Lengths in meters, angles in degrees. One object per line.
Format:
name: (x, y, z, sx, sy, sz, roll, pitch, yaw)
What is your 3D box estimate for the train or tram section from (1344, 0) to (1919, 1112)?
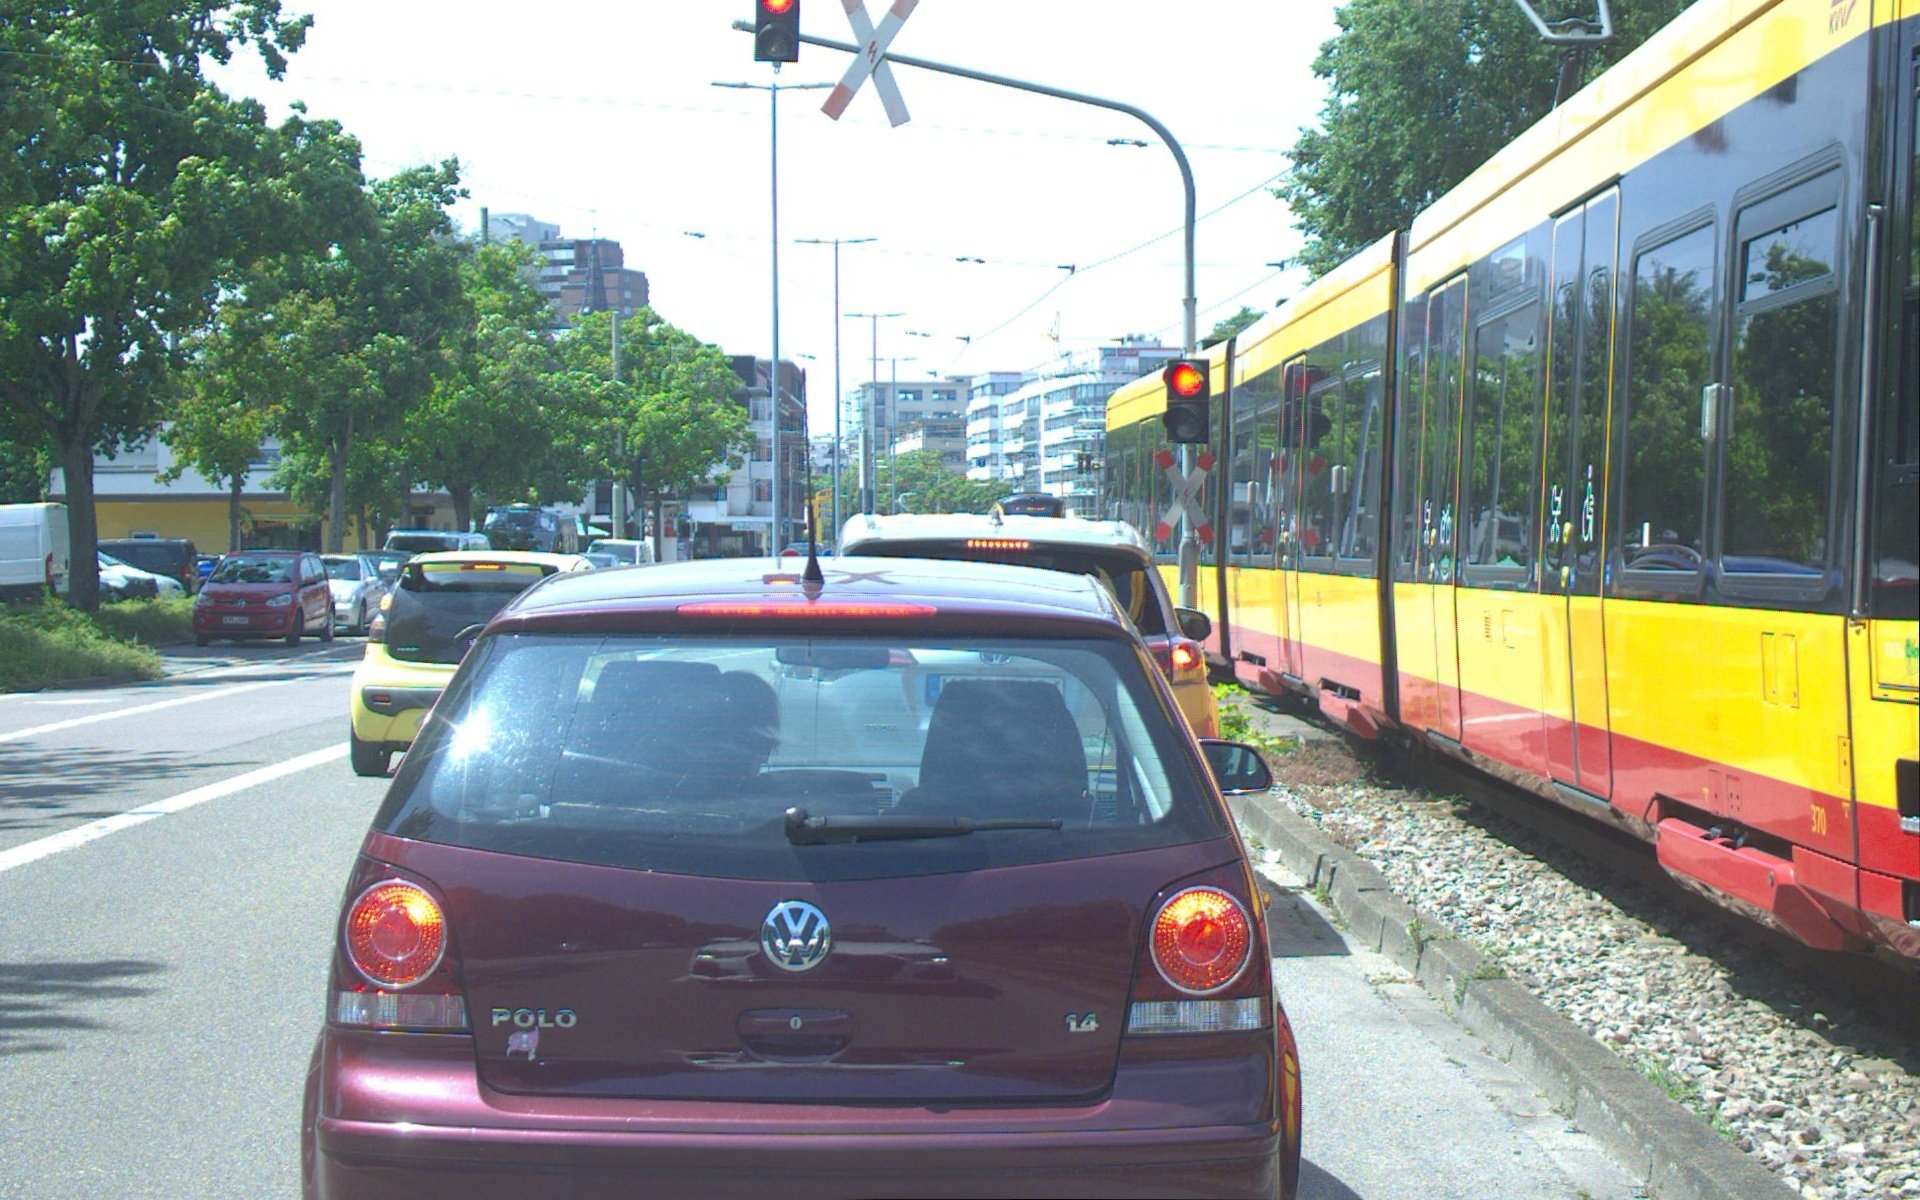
train or tram section: (3.643, -0.689, 13.424, 2.741, 3.597, 12.870, 2, 1, 0)
